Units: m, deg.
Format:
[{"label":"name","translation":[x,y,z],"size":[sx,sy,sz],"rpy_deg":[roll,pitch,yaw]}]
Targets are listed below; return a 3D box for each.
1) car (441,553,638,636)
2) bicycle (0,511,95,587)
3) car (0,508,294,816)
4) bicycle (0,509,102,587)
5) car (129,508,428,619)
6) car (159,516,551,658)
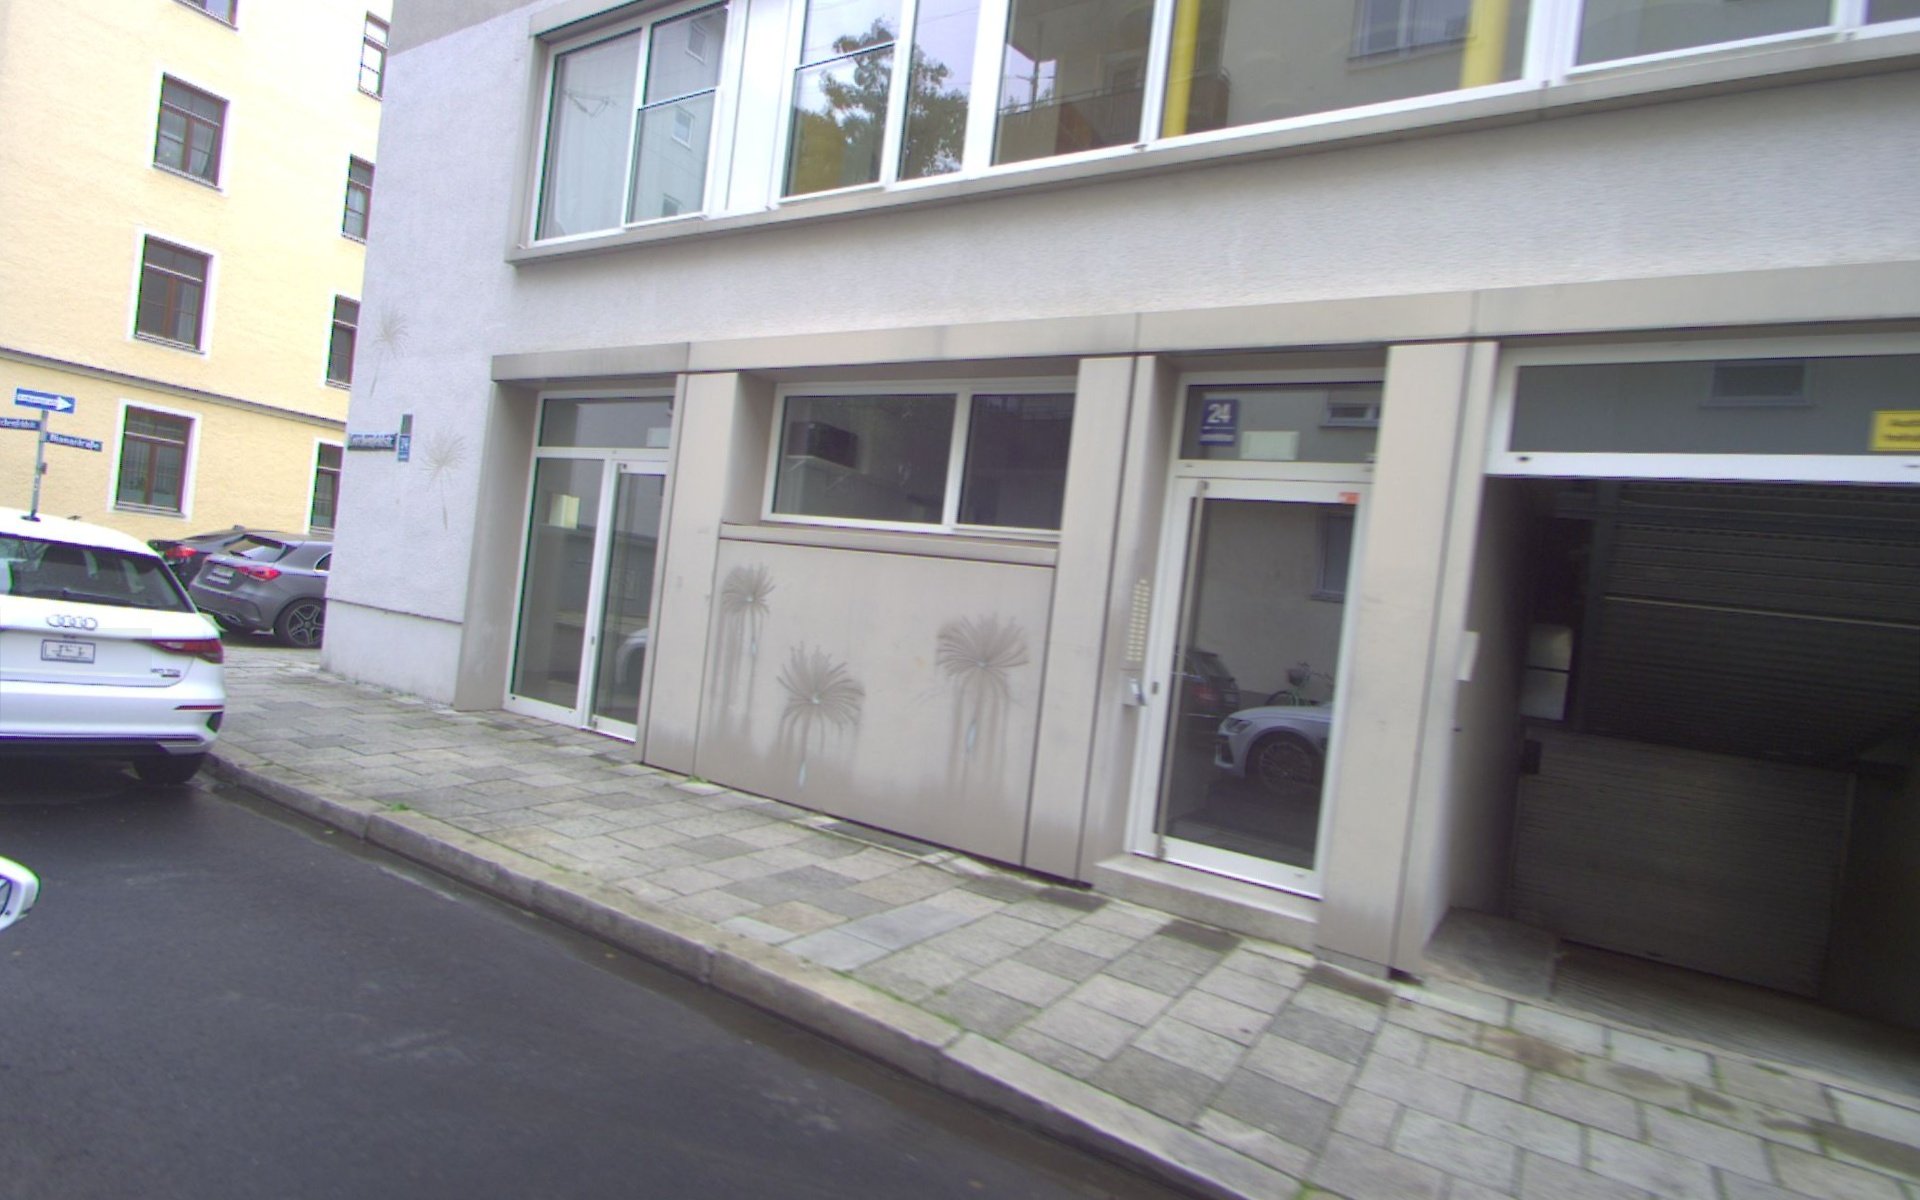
[{"label":"car","translation":[-9.808,-0.080,23.751],"size":[1.684,1.511,3.979],"rpy_deg":[4,-3,32]},{"label":"bicycle","translation":[-15.665,-0.862,16.828],"size":[0.367,1.154,1.714],"rpy_deg":[9,2,32]},{"label":"car","translation":[-5.969,0.147,5.977],"size":[3.887,1.425,1.822],"rpy_deg":[7,-1,32]},{"label":"bicycle","translation":[-15.978,-0.904,17.233],"size":[0.497,1.189,1.810],"rpy_deg":[9,2,30]},{"label":"car","translation":[-12.493,-0.604,18.740],"size":[1.683,1.511,4.219],"rpy_deg":[6,-1,31]},{"label":"car","translation":[-8.248,-0.091,14.144],"size":[1.966,1.417,4.211],"rpy_deg":[9,0,29]}]
